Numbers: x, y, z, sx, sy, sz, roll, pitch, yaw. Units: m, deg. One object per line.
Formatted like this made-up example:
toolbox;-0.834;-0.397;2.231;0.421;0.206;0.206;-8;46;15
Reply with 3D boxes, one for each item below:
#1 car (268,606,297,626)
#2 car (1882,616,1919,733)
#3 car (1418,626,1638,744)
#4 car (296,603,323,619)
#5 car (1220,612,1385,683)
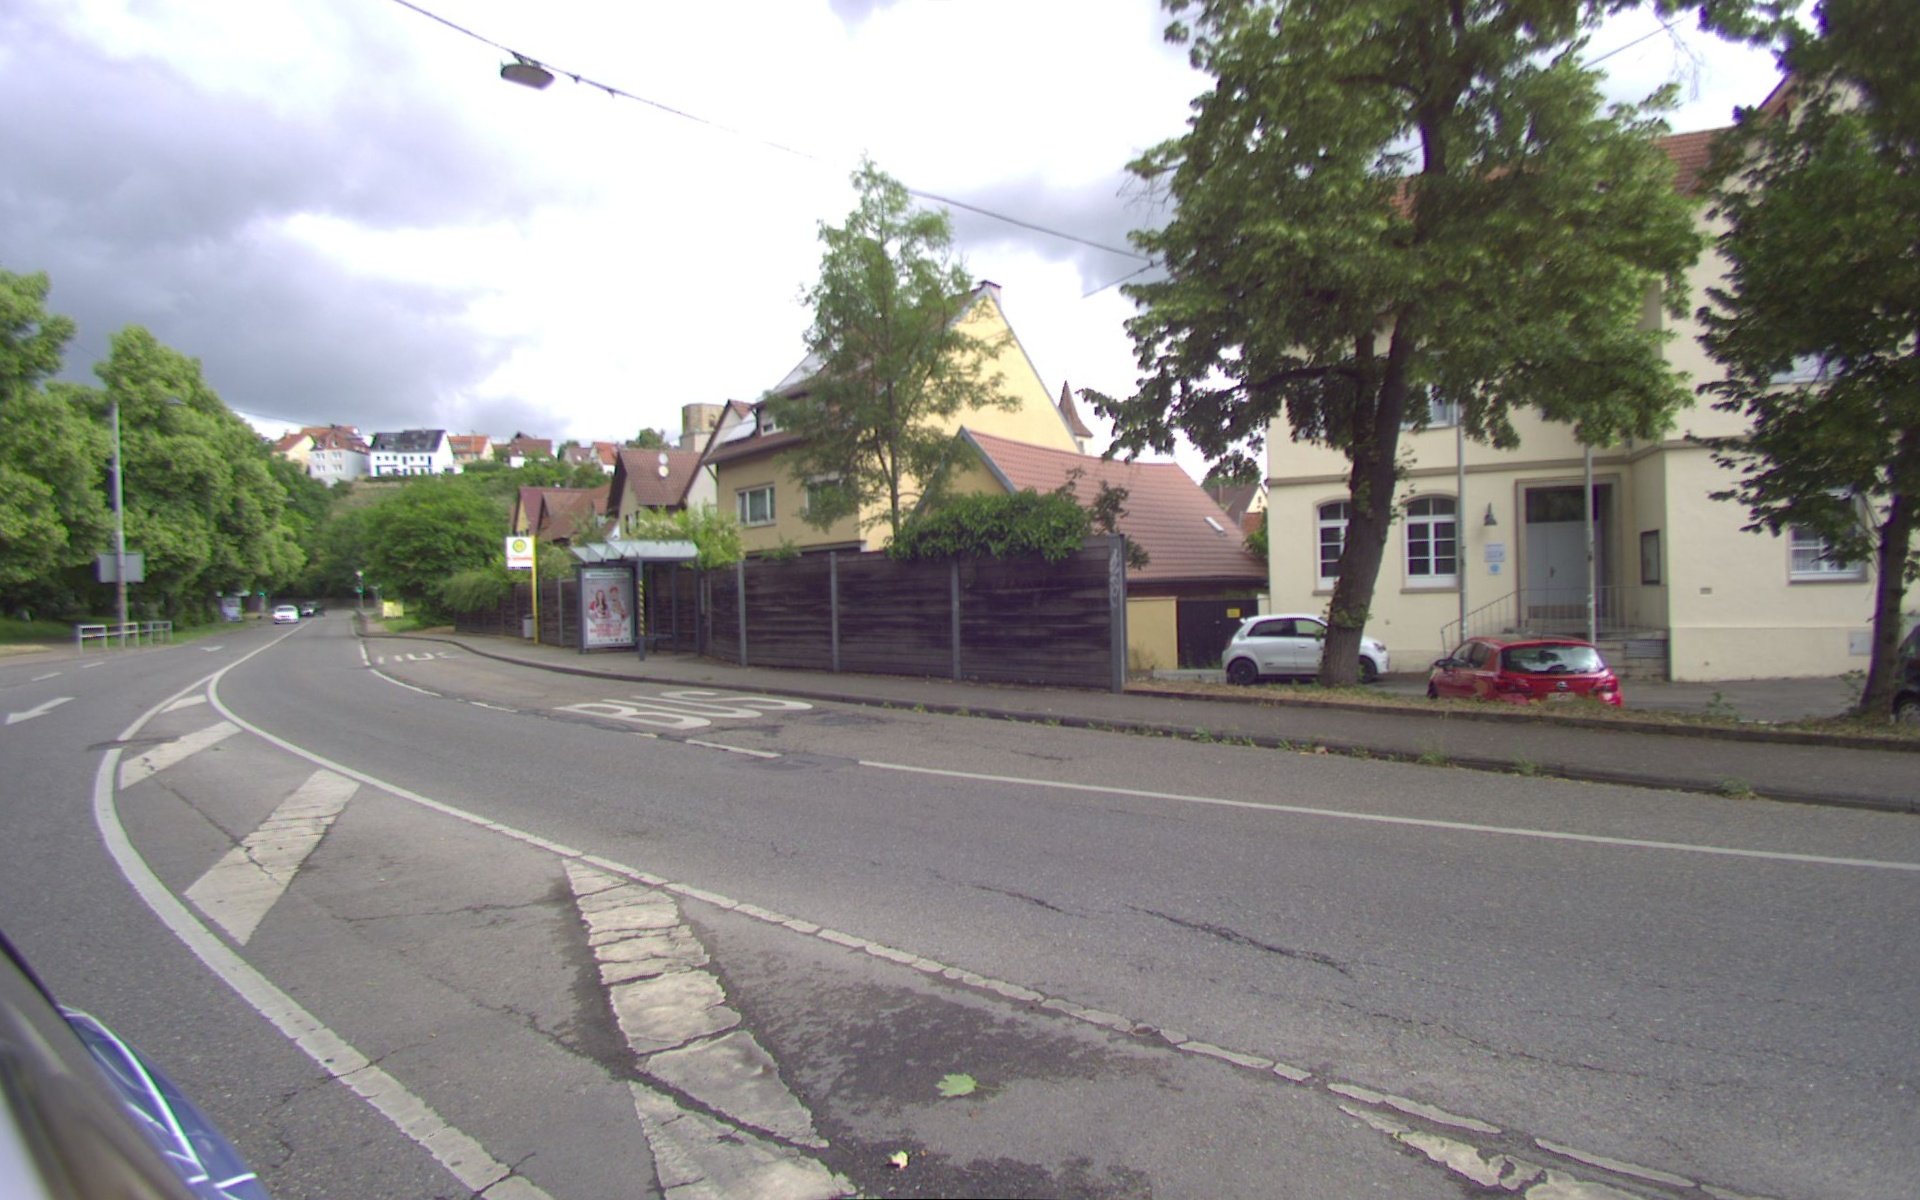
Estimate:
car;-55.890;1.312;83.535;1.735;1.536;3.694;-1;0;-31
car;12.630;0.929;11.311;1.626;1.450;3.567;-1;0;7
car;8.140;1.141;14.884;1.644;1.393;3.708;-1;0;10
car;-68.625;1.158;106.801;1.734;1.596;3.695;-1;0;-21
car;7.715;1.051;22.892;3.411;1.490;1.600;-1;0;21
